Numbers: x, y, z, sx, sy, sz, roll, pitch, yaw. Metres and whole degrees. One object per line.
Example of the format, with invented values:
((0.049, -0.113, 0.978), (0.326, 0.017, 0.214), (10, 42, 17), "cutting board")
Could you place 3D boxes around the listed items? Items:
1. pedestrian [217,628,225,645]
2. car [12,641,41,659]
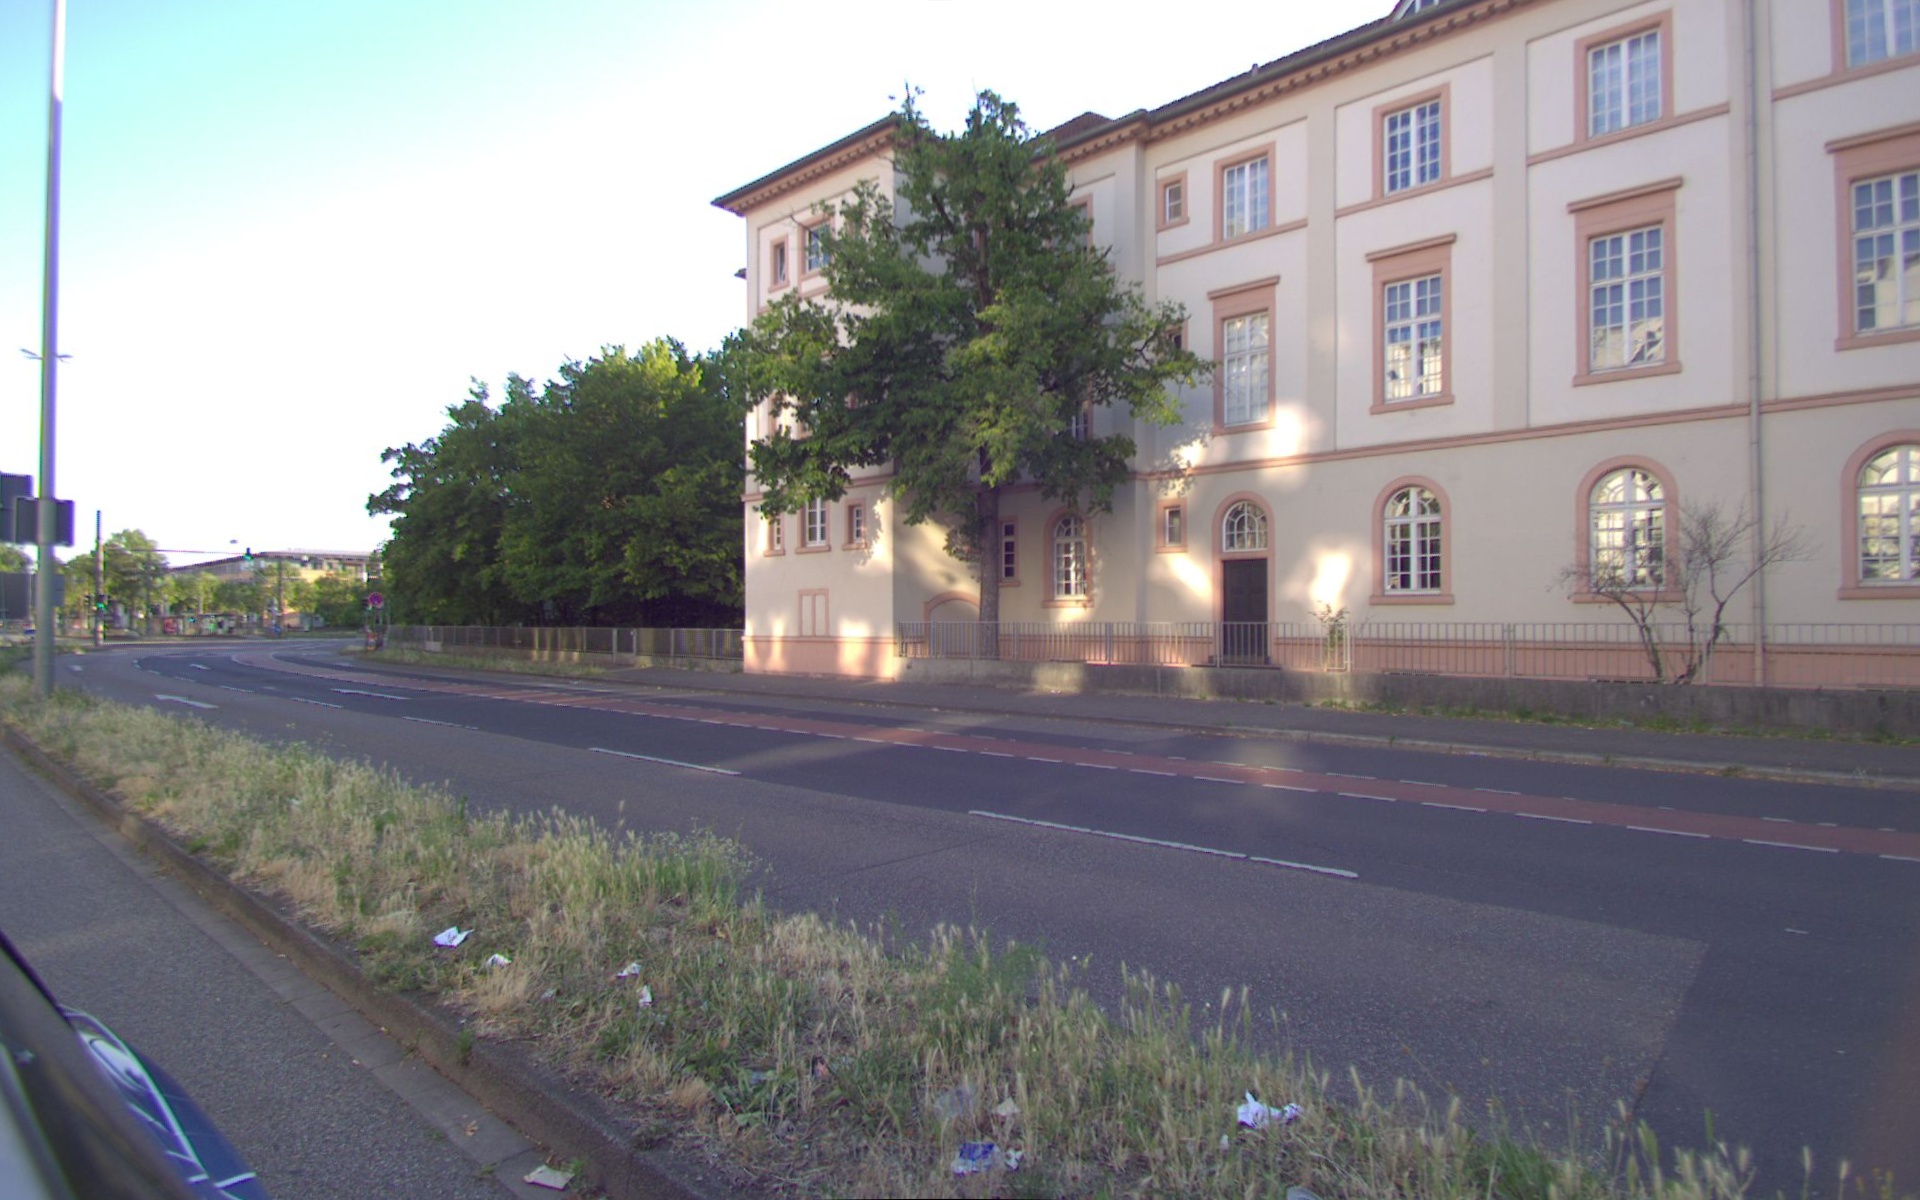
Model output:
((-85.833, 4.215, 117.535), (0.664, 2.029, 0.549), (-2, -2, 41), "pedestrian")
((-80.835, 4.333, 87.642), (1.650, 1.429, 4.447), (0, -1, -40), "car")
